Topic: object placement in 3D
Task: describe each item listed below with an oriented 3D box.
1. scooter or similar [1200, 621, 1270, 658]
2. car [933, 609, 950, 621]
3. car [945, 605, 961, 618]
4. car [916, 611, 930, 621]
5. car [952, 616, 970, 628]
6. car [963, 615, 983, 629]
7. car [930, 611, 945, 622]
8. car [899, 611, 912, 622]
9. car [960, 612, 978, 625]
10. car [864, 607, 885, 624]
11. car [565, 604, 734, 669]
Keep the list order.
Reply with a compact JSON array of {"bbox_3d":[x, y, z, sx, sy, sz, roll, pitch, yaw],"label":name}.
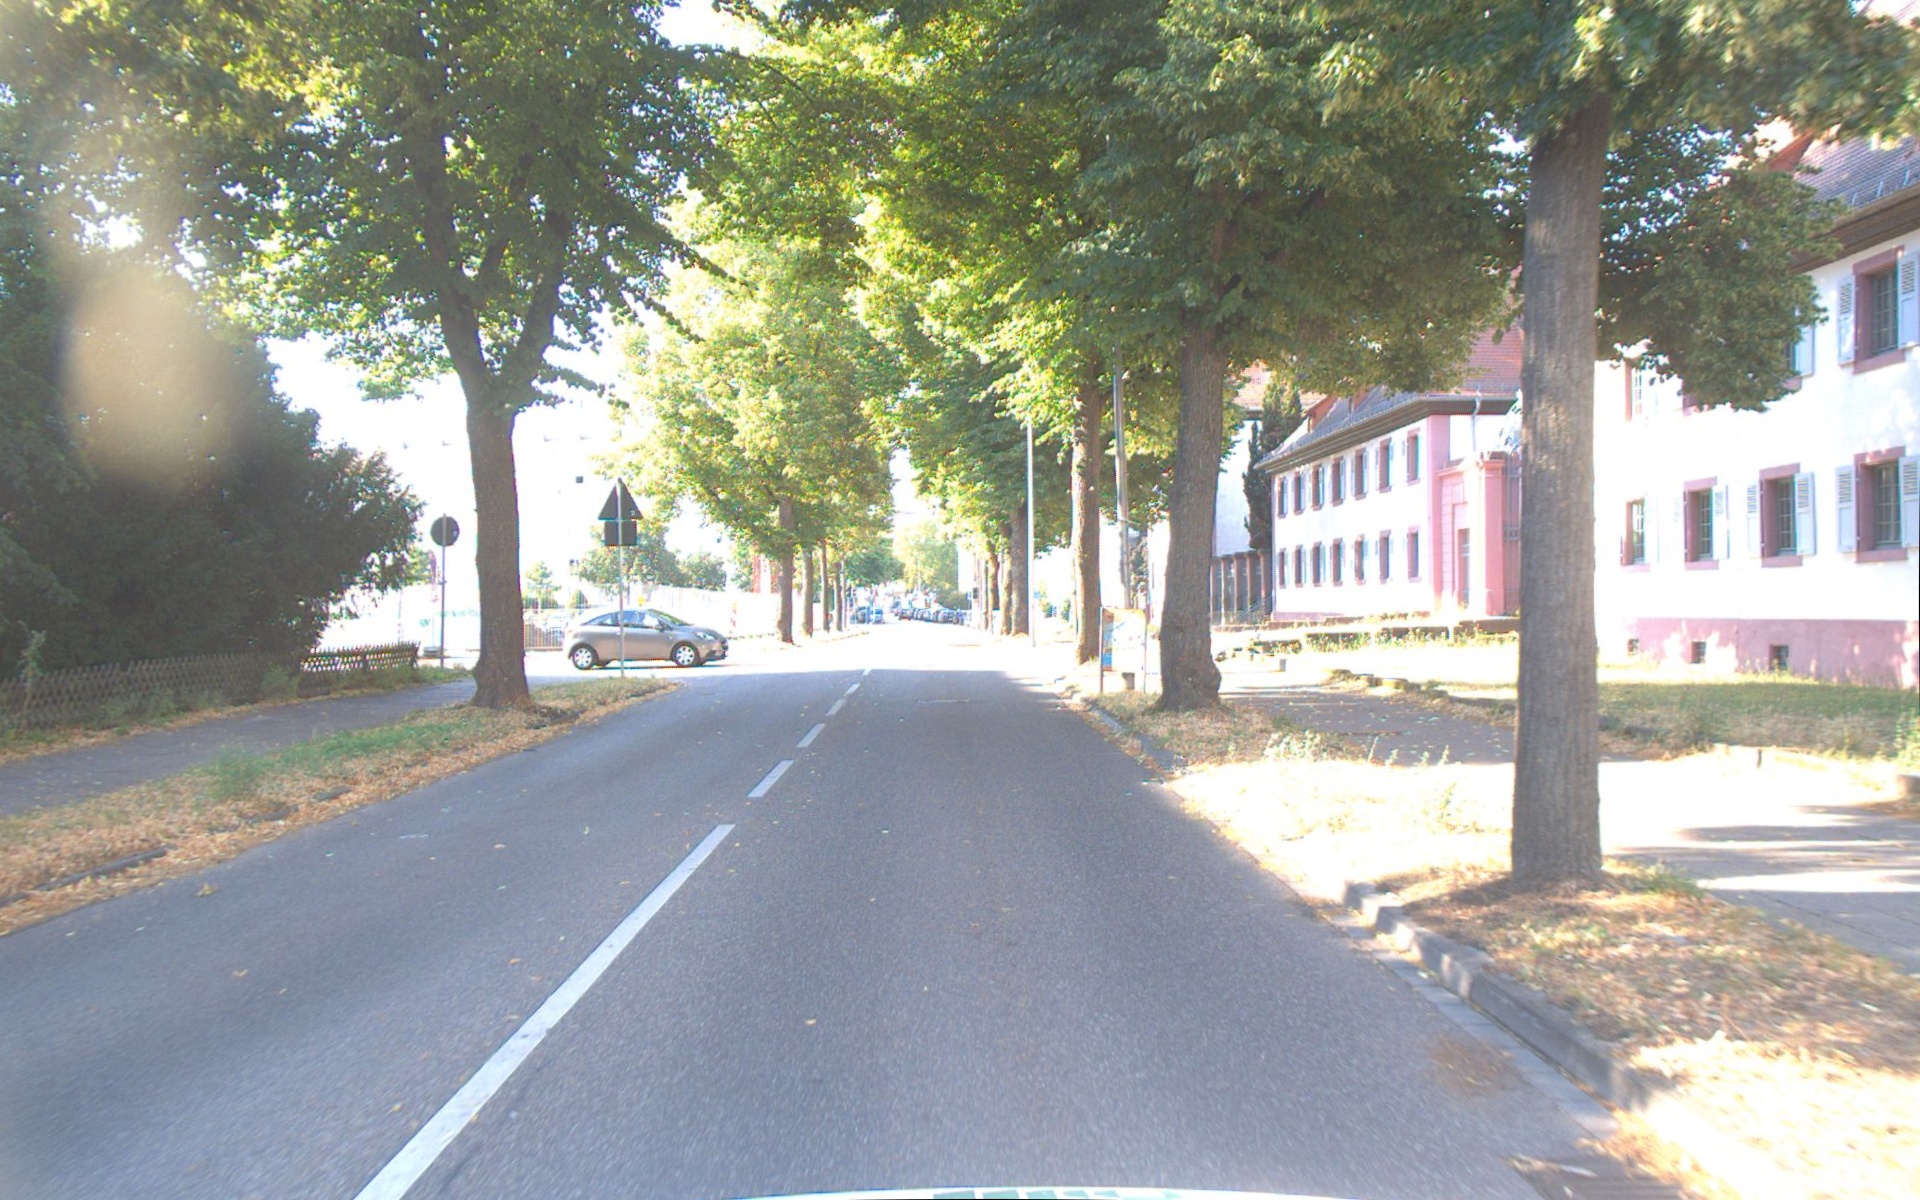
[{"bbox_3d":[5.694,0.815,34.289,1.201,0.557,1.063,-10,0,-1],"label":"scooter or similar"},{"bbox_3d":[-2.297,1.914,204.797,1.805,1.410,3.996,-1,-1,-4],"label":"car"},{"bbox_3d":[-0.799,1.328,193.601,1.804,1.410,3.999,-1,0,-2],"label":"car"},{"bbox_3d":[-5.282,2.278,237.231,1.805,1.410,3.996,-1,-1,-4],"label":"car"},{"bbox_3d":[0.084,2.327,175.647,1.804,1.283,3.998,-1,-1,-1],"label":"car"},{"bbox_3d":[1.233,2.080,158.360,1.804,1.283,3.998,-1,-1,-1],"label":"car"},{"bbox_3d":[-2.961,2.155,216.880,1.805,1.410,3.996,-1,0,-4],"label":"car"},{"bbox_3d":[-7.845,2.428,239.412,1.680,1.512,3.996,-2,-1,-4],"label":"car"},{"bbox_3d":[0.920,1.873,168.953,1.804,1.283,3.999,-1,0,-1],"label":"car"},{"bbox_3d":[-9.346,1.692,180.713,1.955,1.717,3.994,-1,-1,-6],"label":"car"},{"bbox_3d":[-7.512,0.875,40.194,3.764,1.499,1.651,-1,0,1],"label":"car"}]
